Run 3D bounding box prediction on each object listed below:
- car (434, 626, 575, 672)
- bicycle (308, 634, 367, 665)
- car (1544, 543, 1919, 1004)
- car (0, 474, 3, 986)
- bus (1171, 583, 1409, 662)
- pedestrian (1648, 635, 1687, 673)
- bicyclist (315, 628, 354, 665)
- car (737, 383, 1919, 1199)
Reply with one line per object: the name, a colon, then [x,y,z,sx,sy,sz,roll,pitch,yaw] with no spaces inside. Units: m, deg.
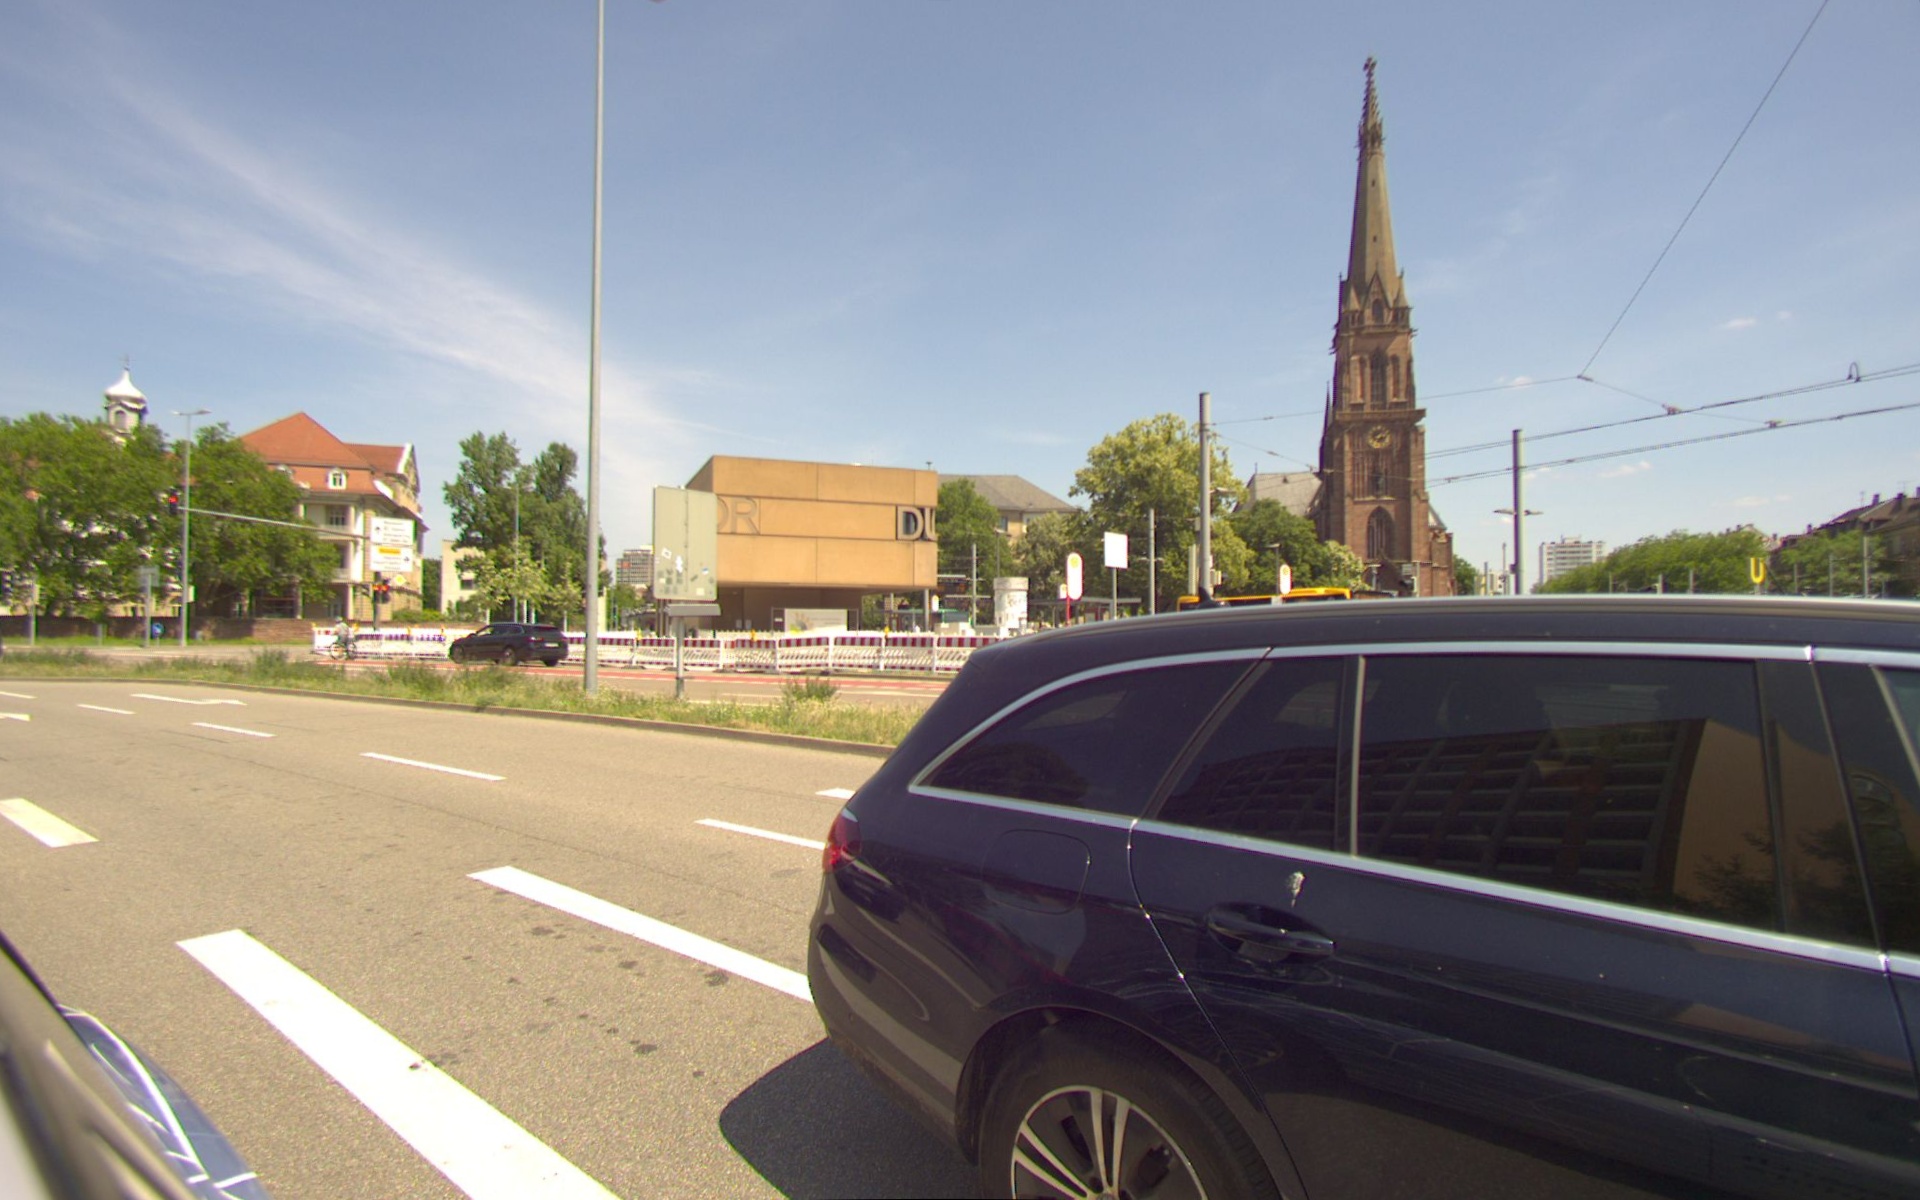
car: [-15.742,1.659,34.916,4.825,1.476,1.980,-1,-2,29]
bicycle: [-23.361,1.843,37.972,2.220,1.080,0.871,-1,0,26]
car: [4.426,0.600,3.646,3.736,1.588,1.725,-2,-3,42]
car: [-6.189,0.546,4.735,4.844,1.985,1.946,-1,-1,40]
bus: [14.093,1.086,45.127,2.807,3.039,12.259,1,-2,-22]
pedestrian: [24.951,1.898,35.695,0.518,1.344,1.001,1,-2,-17]
bicyclist: [-23.537,1.729,38.088,1.432,1.366,0.581,-1,0,26]
car: [1.828,0.586,1.554,4.803,1.653,1.778,-2,-1,42]
